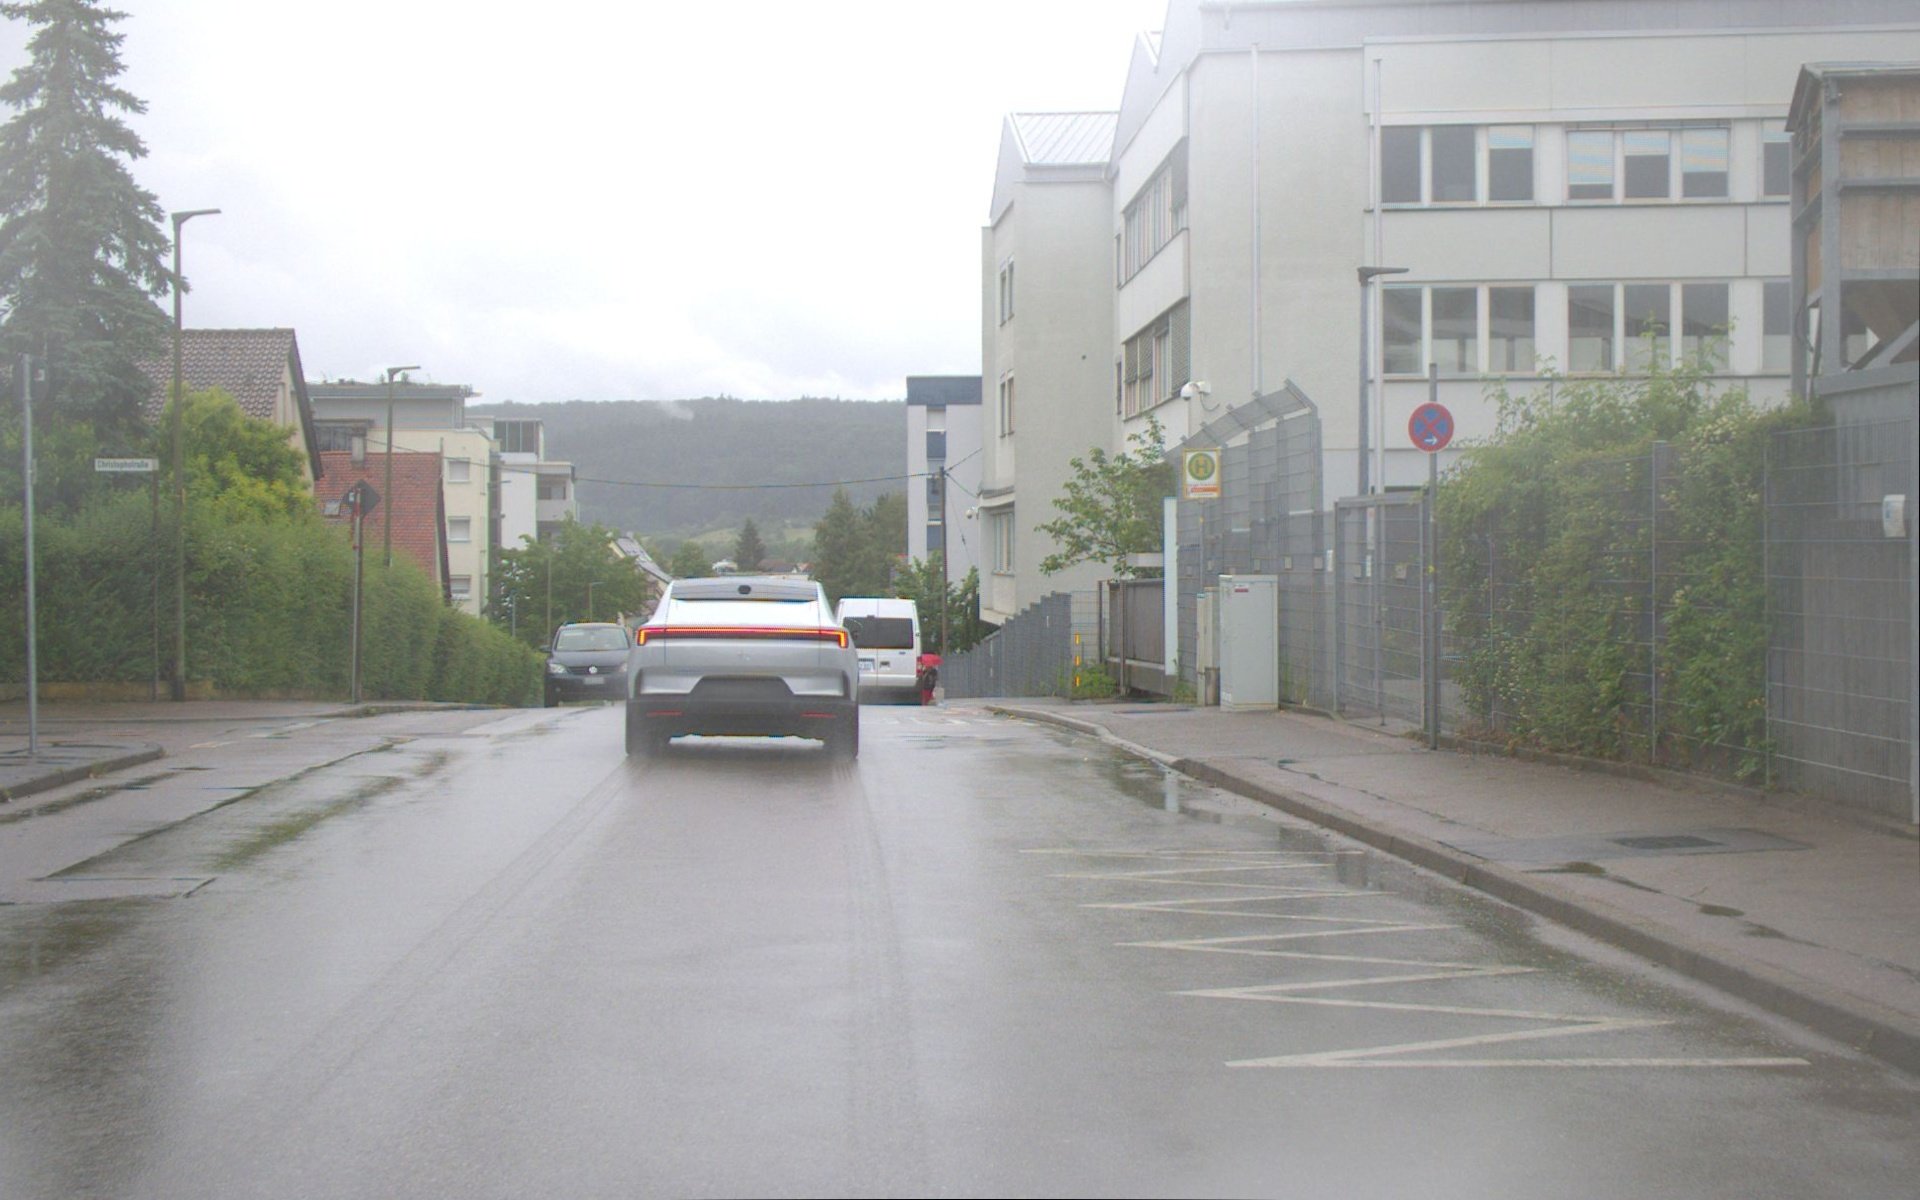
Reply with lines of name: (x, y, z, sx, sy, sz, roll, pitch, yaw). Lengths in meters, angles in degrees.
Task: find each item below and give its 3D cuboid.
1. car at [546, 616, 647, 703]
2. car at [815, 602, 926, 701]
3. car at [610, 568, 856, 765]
car: (-6.566, 1.056, 62.347, 1.675, 1.522, 4.000, 0, 0, -4)
car: (-1.938, 1.126, 73.101, 1.993, 2.007, 4.000, -1, -2, -6)
car: (-1.928, 0.522, 30.439, 1.993, 1.497, 4.670, 1, 2, -2)
